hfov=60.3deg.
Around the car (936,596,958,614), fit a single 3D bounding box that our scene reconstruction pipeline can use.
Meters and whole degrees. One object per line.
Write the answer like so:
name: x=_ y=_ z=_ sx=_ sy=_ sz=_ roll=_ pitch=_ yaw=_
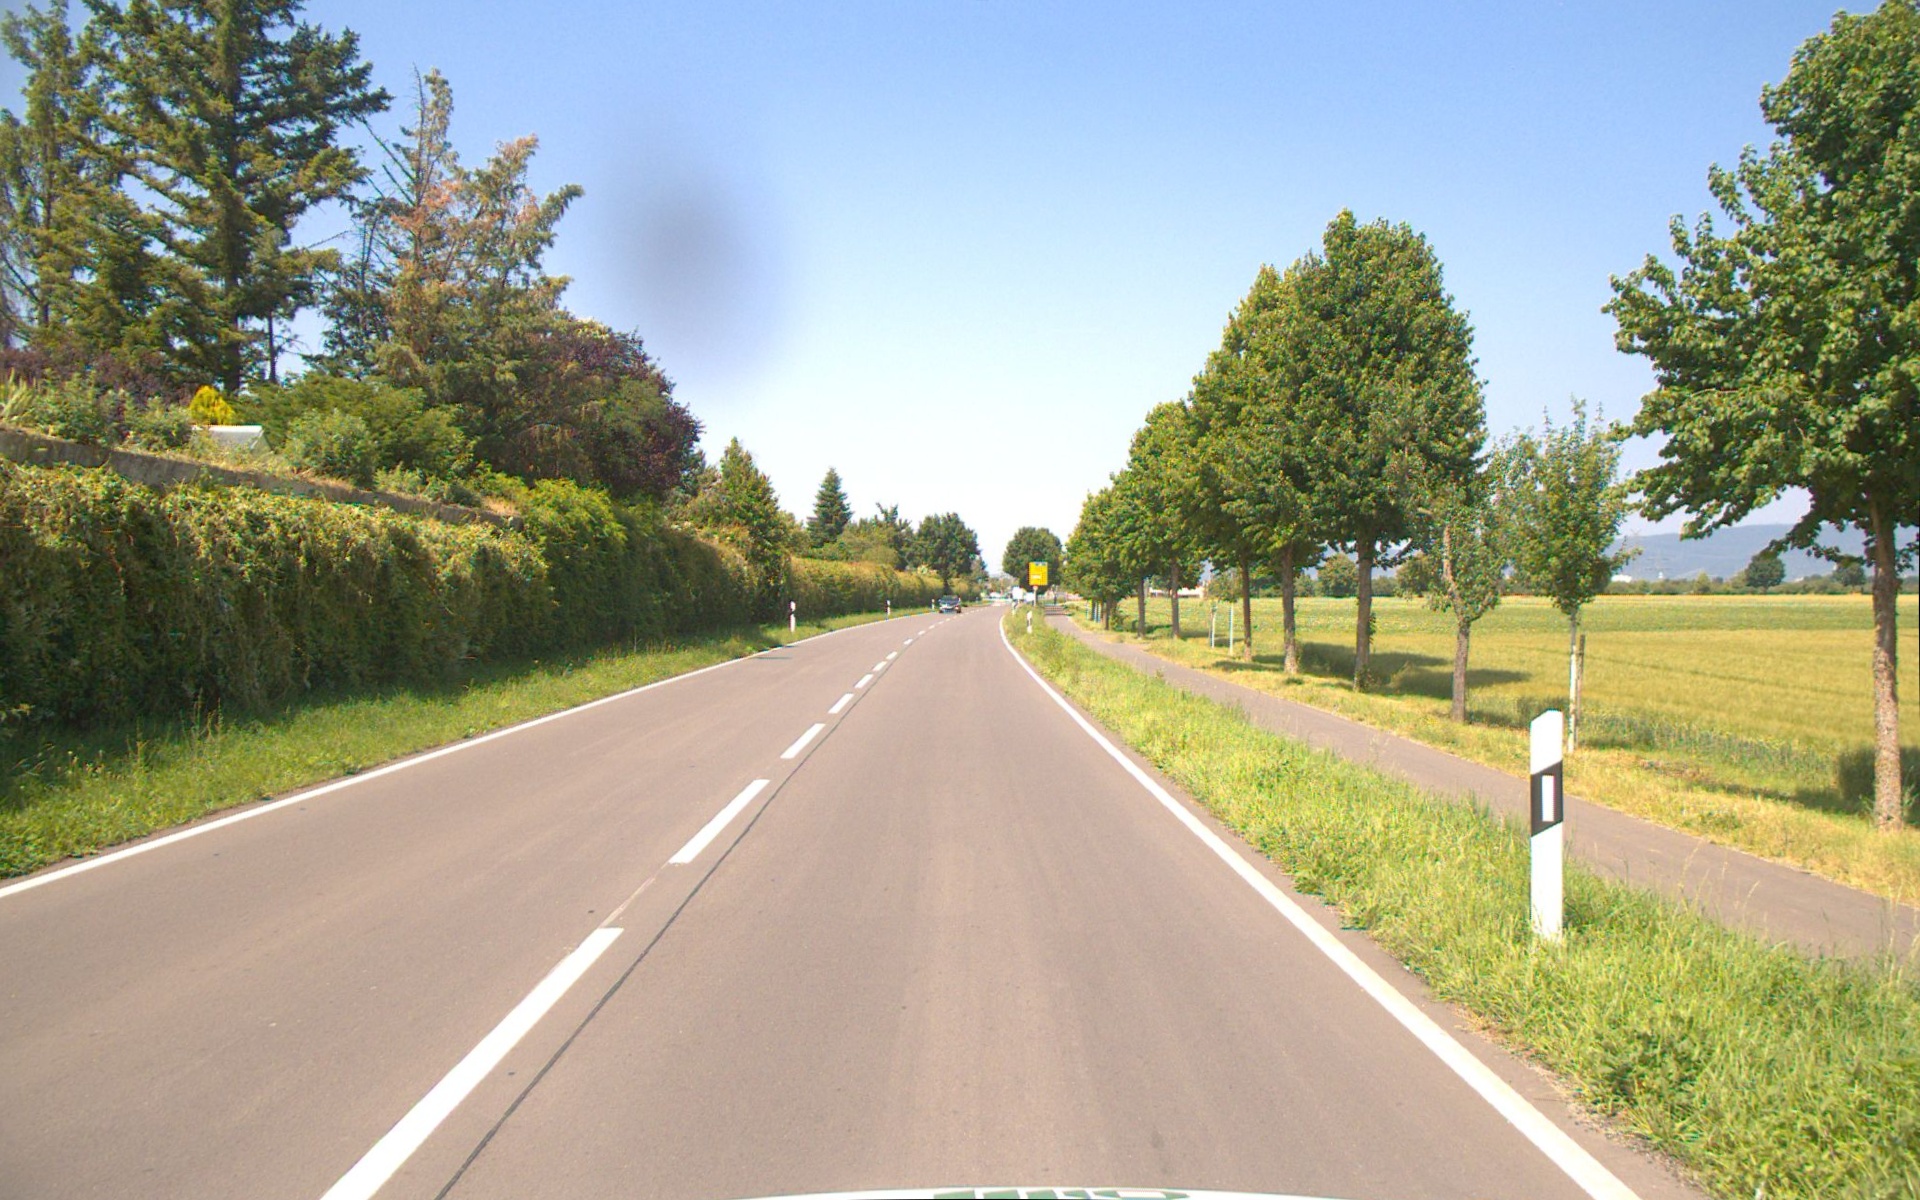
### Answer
car: x=-1.120 y=0.388 z=140.264 sx=1.802 sy=1.493 sz=3.932 roll=0 pitch=0 yaw=-1
